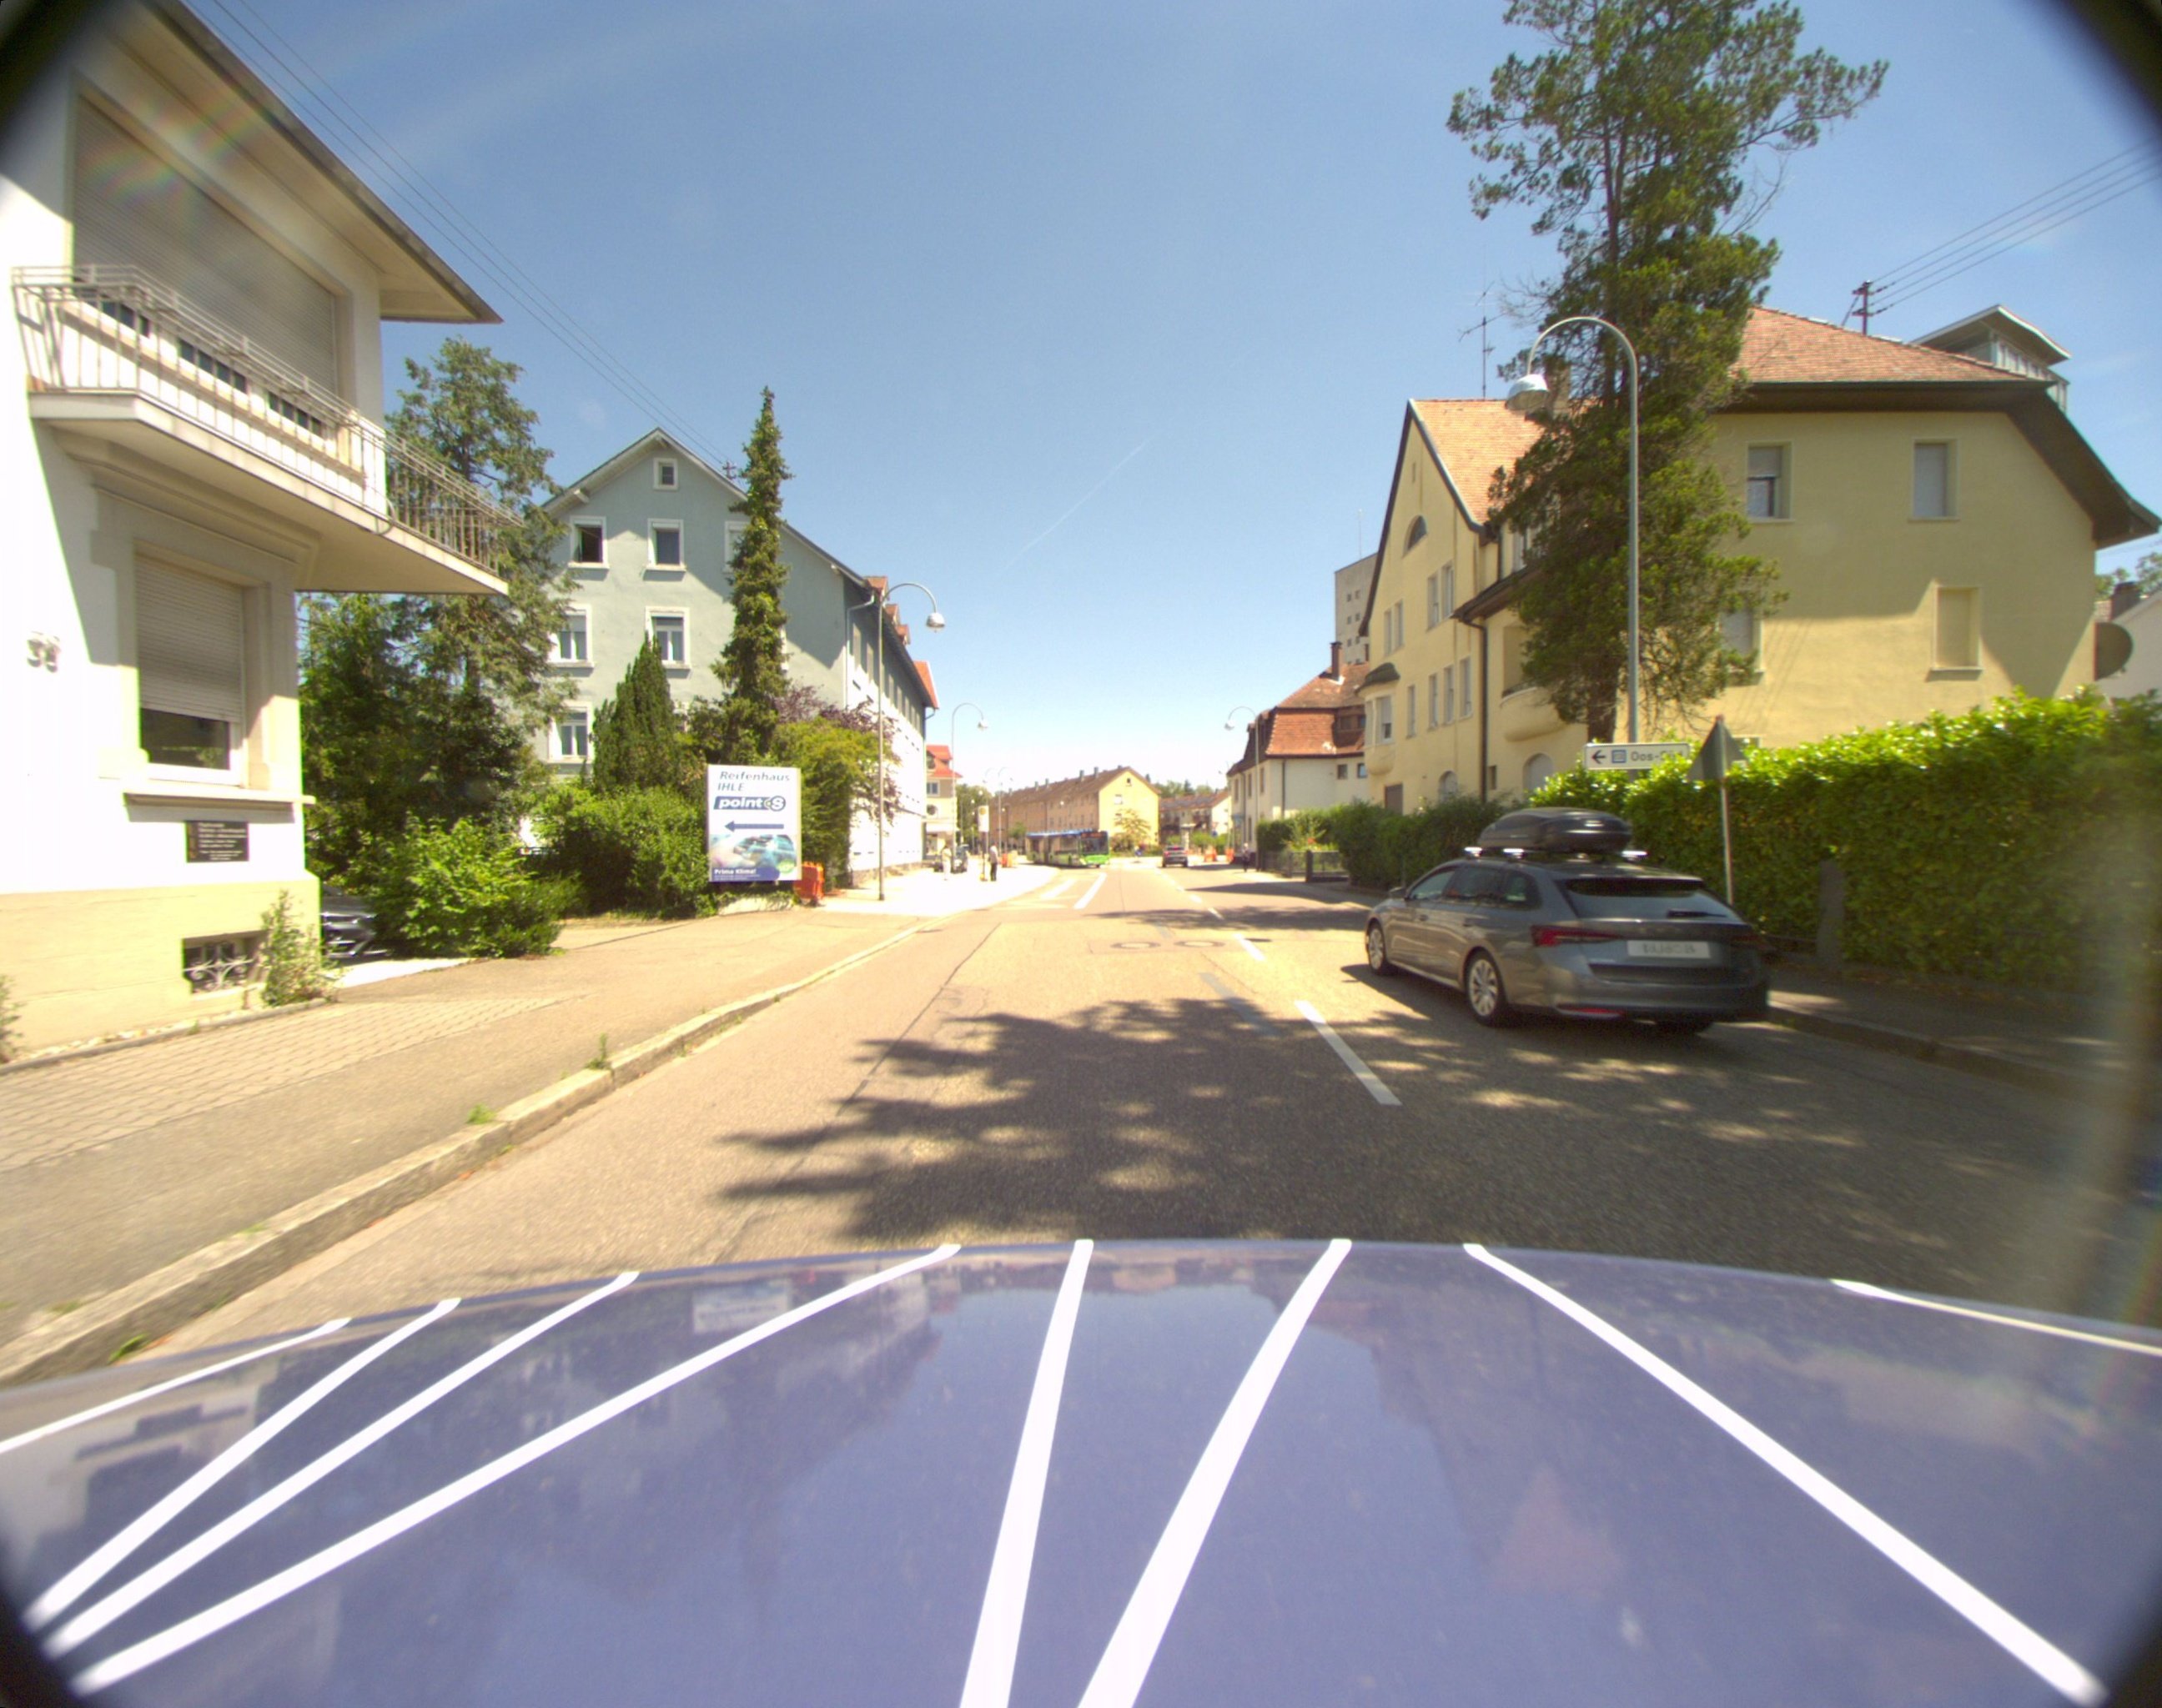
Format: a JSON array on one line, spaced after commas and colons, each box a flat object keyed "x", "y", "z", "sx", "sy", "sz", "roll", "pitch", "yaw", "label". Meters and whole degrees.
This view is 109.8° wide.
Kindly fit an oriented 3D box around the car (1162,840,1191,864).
[{"x": 7.024, "y": -0.174, "z": 56.231, "sx": 1.857, "sy": 1.607, "sz": 4.297, "roll": -1, "pitch": 1, "yaw": 3, "label": "car"}]

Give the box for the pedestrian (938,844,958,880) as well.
[{"x": -5.973, "y": 0.344, "z": 34.081, "sx": 0.614, "sy": 1.606, "sz": 0.751, "roll": 2, "pitch": 2, "yaw": 13, "label": "pedestrian"}]

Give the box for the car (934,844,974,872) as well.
[{"x": -7.461, "y": 0.207, "z": 44.882, "sx": 1.763, "sy": 1.505, "sz": 3.739, "roll": 3, "pitch": 1, "yaw": -2, "label": "car"}]

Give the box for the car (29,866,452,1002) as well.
[{"x": -11.964, "y": 1.082, "z": 11.053, "sx": 3.997, "sy": 1.583, "sz": 1.797, "roll": -3, "pitch": 1, "yaw": -1, "label": "car"}]

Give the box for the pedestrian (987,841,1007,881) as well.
[{"x": -3.932, "y": 0.332, "z": 35.603, "sx": 0.751, "sy": 1.795, "sz": 0.614, "roll": 2, "pitch": 2, "yaw": -18, "label": "pedestrian"}]

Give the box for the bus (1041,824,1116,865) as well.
[{"x": -0.464, "y": -0.729, "z": 64.298, "sx": 2.914, "sy": 3.062, "sz": 12.544, "roll": -2, "pitch": 1, "yaw": -16, "label": "bus"}]

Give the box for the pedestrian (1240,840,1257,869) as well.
[{"x": 9.173, "y": 0.024, "z": 41.650, "sx": 0.614, "sy": 1.556, "sz": 0.824, "roll": -6, "pitch": 1, "yaw": 1, "label": "pedestrian"}]

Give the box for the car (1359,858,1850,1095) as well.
[{"x": 4.306, "y": 0.833, "z": 7.305, "sx": 1.810, "sy": 1.480, "sz": 4.387, "roll": 1, "pitch": 1, "yaw": 3, "label": "car"}]

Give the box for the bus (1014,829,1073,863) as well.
[{"x": -3.971, "y": -0.705, "z": 76.334, "sx": 2.932, "sy": 3.044, "sz": 12.544, "roll": -2, "pitch": 1, "yaw": -17, "label": "bus"}]

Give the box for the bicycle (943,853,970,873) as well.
[{"x": -6.695, "y": 0.471, "z": 40.839, "sx": 0.632, "sy": 1.033, "sz": 1.886, "roll": 3, "pitch": 1, "yaw": 16, "label": "bicycle"}]
